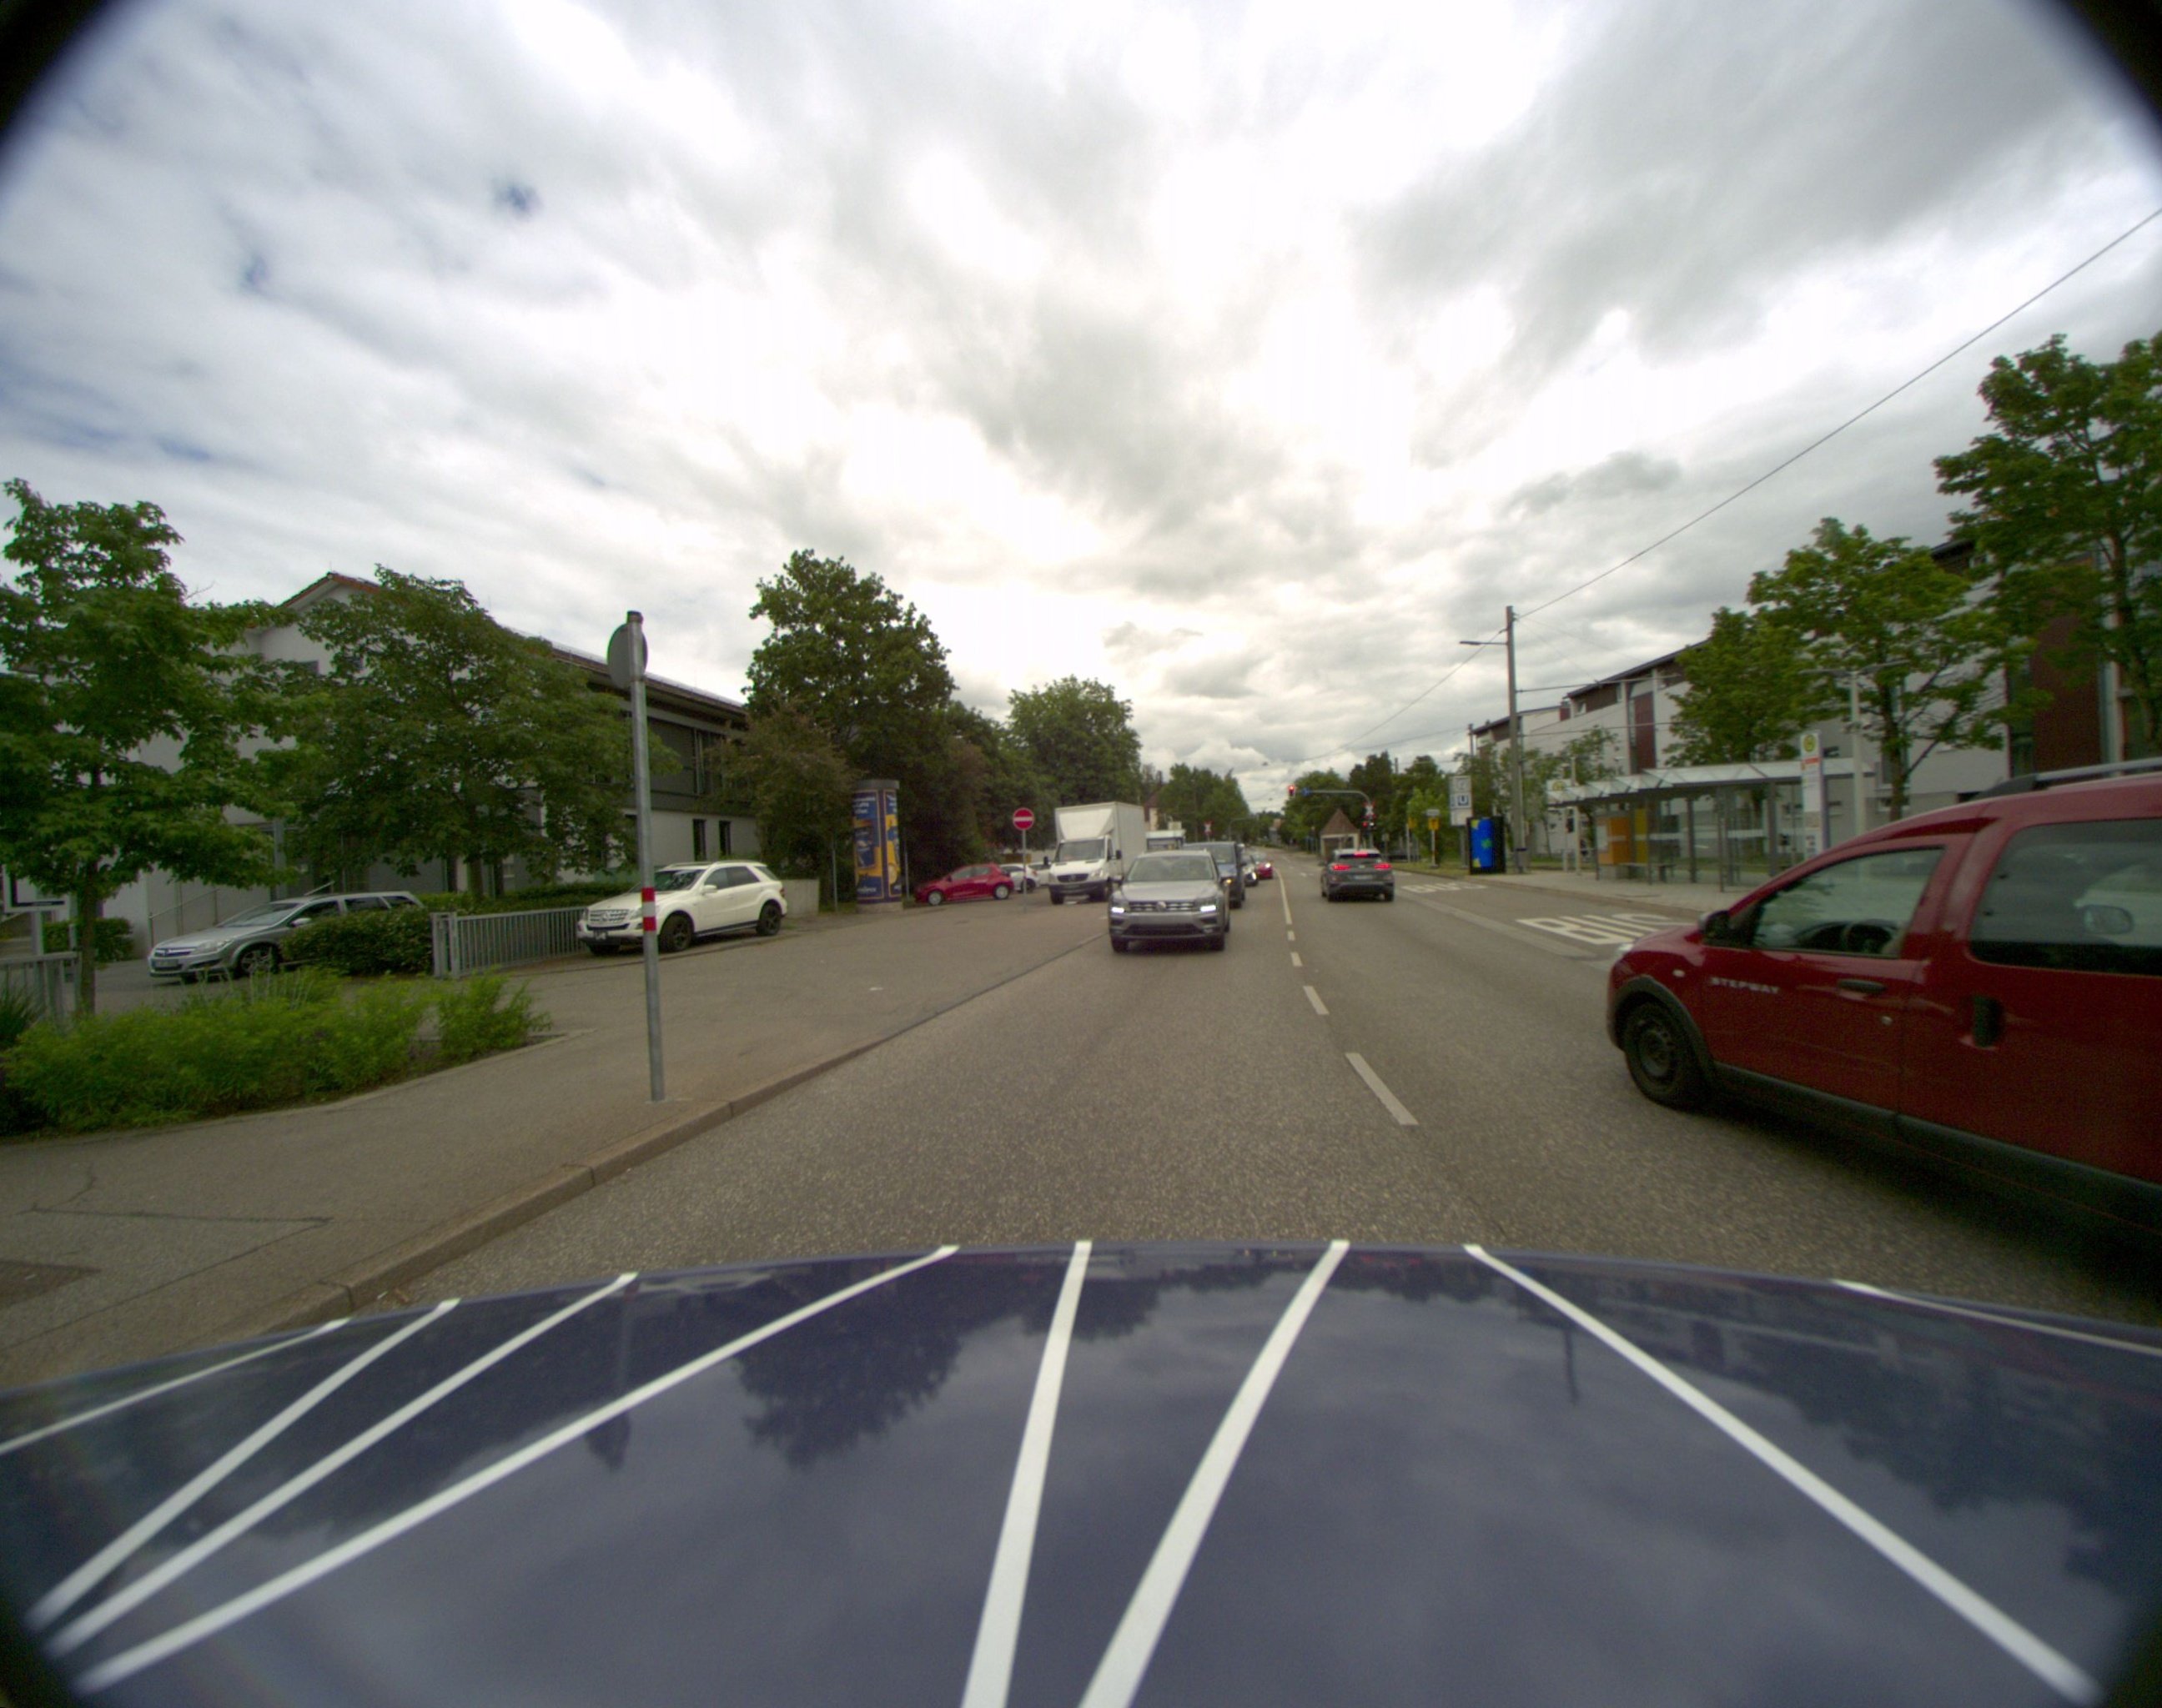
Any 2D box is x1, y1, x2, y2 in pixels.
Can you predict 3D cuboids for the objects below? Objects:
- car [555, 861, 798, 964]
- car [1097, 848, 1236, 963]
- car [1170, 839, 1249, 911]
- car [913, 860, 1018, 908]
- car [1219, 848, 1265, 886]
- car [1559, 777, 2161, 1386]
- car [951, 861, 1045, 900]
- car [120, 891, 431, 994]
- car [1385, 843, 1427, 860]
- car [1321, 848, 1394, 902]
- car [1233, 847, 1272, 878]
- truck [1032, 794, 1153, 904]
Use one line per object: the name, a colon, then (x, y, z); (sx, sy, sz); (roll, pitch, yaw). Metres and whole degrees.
car: (-8.365, 1.114, 16.337); (1.855, 1.747, 4.726); (-3, 0, 14)
car: (1.701, 0.779, 13.555); (1.809, 1.637, 4.335); (-3, 0, 14)
car: (3.817, 0.535, 22.069); (1.847, 1.850, 4.004); (-3, 0, 14)
car: (-4.596, 1.150, 30.200); (3.898, 1.475, 1.681); (-5, 1, -11)
car: (7.277, 0.547, 34.605); (1.848, 1.525, 4.003); (-2, 0, 10)
car: (4.040, 0.654, 2.972); (1.685, 1.798, 4.352); (-1, 0, 2)
car: (-3.867, 1.201, 35.398); (4.002, 1.402, 1.522); (-5, 1, -18)
car: (-16.412, 1.713, 15.864); (1.619, 1.475, 4.219); (-3, 2, 7)
car: (36.215, -0.292, 84.714); (3.994, 1.696, 1.930); (-3, 0, 11)
car: (8.268, 0.571, 23.002); (1.770, 1.470, 4.004); (-1, 0, 15)
car: (9.373, 0.425, 41.697); (1.848, 1.525, 4.003); (-2, 0, 10)
truck: (0.697, -0.229, 28.159); (2.538, 3.406, 7.782); (-3, 1, 15)
